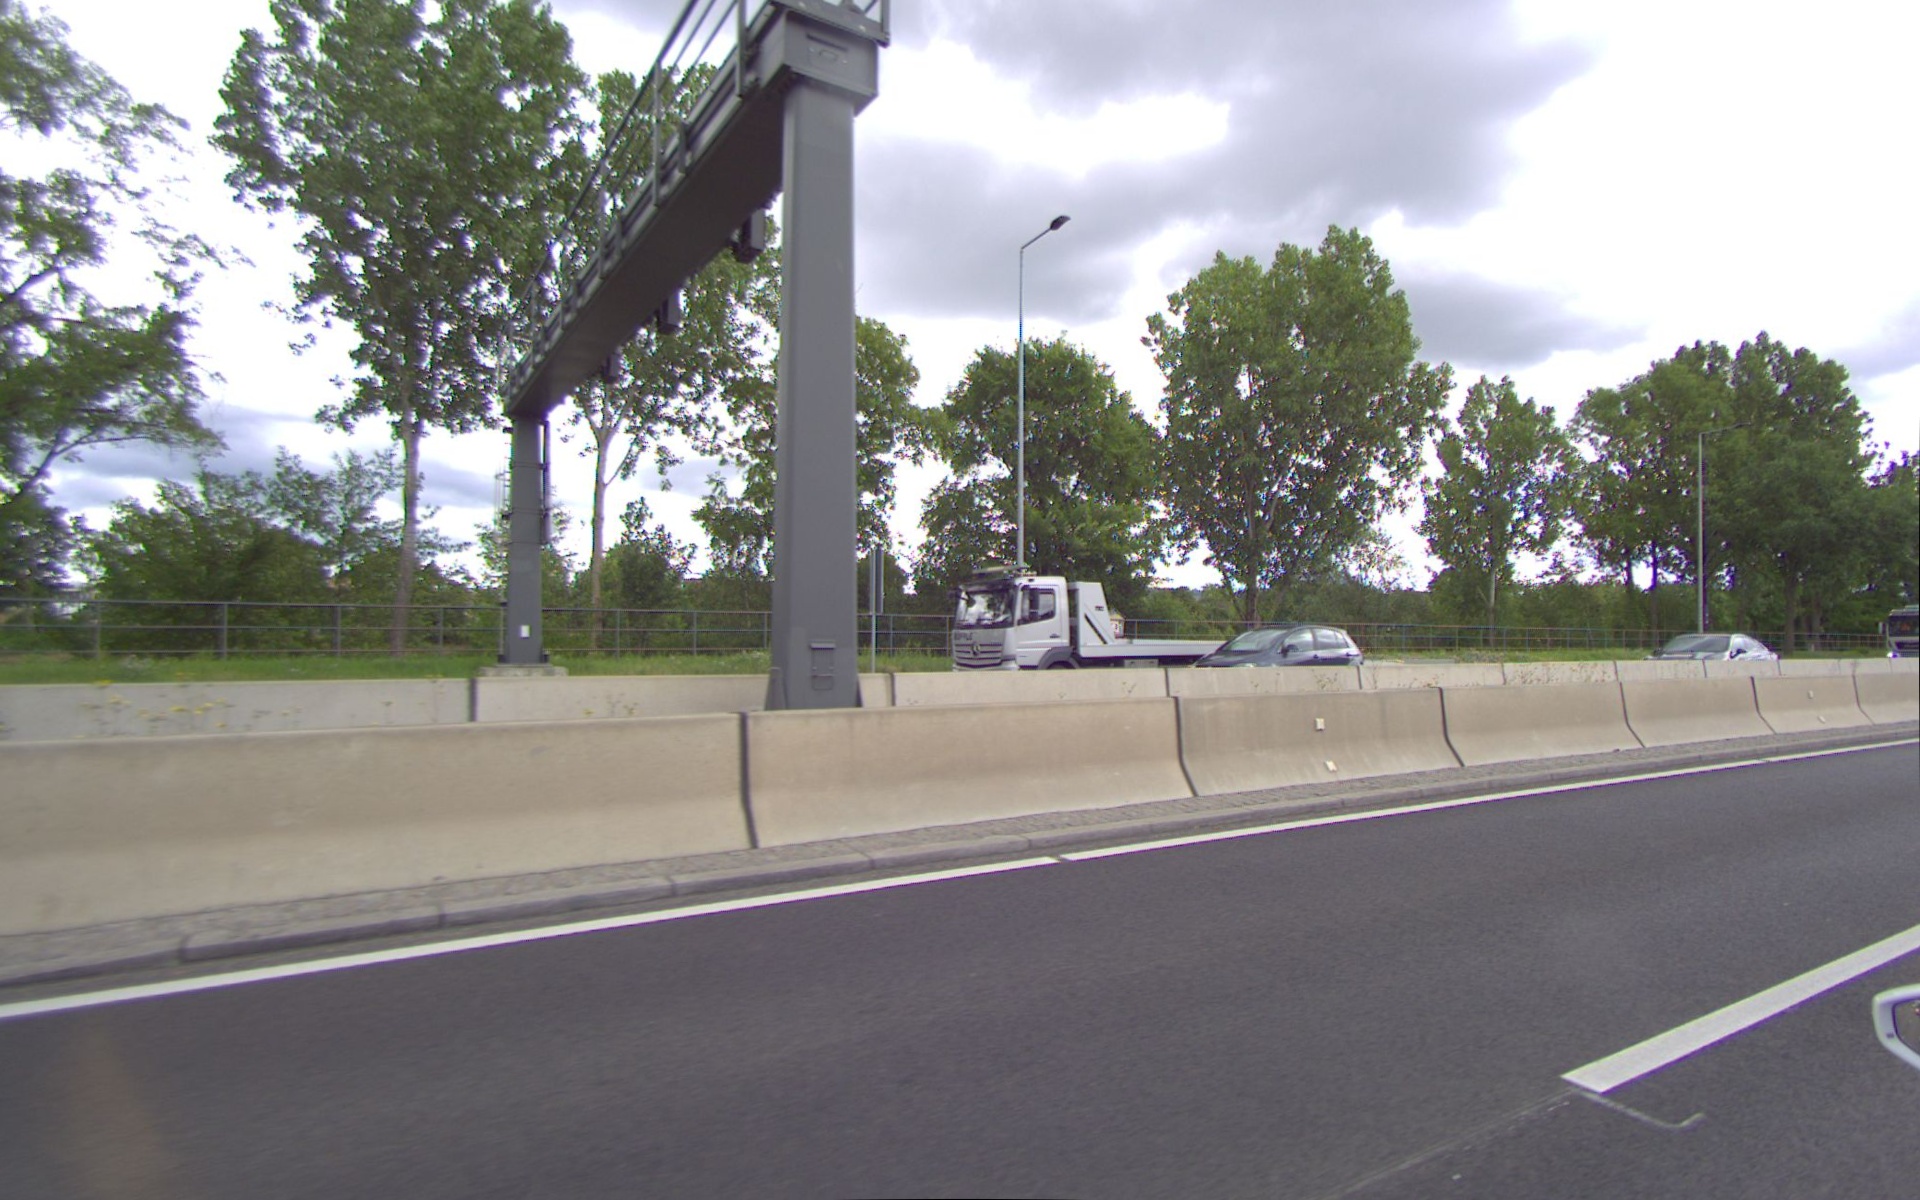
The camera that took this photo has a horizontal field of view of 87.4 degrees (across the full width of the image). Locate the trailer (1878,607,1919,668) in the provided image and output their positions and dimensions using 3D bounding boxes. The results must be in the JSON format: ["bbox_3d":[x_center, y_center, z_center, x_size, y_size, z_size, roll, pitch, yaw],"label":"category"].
[{"bbox_3d":[56.299,2.166,57.121,11.541,3.263,3.083,2,0,-33],"label":"trailer"}]

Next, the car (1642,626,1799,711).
[{"bbox_3d":[19.302,1.693,25.474,3.955,1.929,1.807,2,0,-31],"label":"car"}]

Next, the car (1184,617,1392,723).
[{"bbox_3d":[6.718,1.362,20.467,4.054,1.902,1.807,2,0,-31],"label":"car"}]

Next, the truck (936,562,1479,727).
[{"bbox_3d":[6.887,1.009,24.624,15.711,3.148,2.838,2,0,-33],"label":"truck"}]

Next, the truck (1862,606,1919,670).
[{"bbox_3d":[51.572,2.032,54.086,5.333,3.262,3.080,2,0,-33],"label":"truck"}]
